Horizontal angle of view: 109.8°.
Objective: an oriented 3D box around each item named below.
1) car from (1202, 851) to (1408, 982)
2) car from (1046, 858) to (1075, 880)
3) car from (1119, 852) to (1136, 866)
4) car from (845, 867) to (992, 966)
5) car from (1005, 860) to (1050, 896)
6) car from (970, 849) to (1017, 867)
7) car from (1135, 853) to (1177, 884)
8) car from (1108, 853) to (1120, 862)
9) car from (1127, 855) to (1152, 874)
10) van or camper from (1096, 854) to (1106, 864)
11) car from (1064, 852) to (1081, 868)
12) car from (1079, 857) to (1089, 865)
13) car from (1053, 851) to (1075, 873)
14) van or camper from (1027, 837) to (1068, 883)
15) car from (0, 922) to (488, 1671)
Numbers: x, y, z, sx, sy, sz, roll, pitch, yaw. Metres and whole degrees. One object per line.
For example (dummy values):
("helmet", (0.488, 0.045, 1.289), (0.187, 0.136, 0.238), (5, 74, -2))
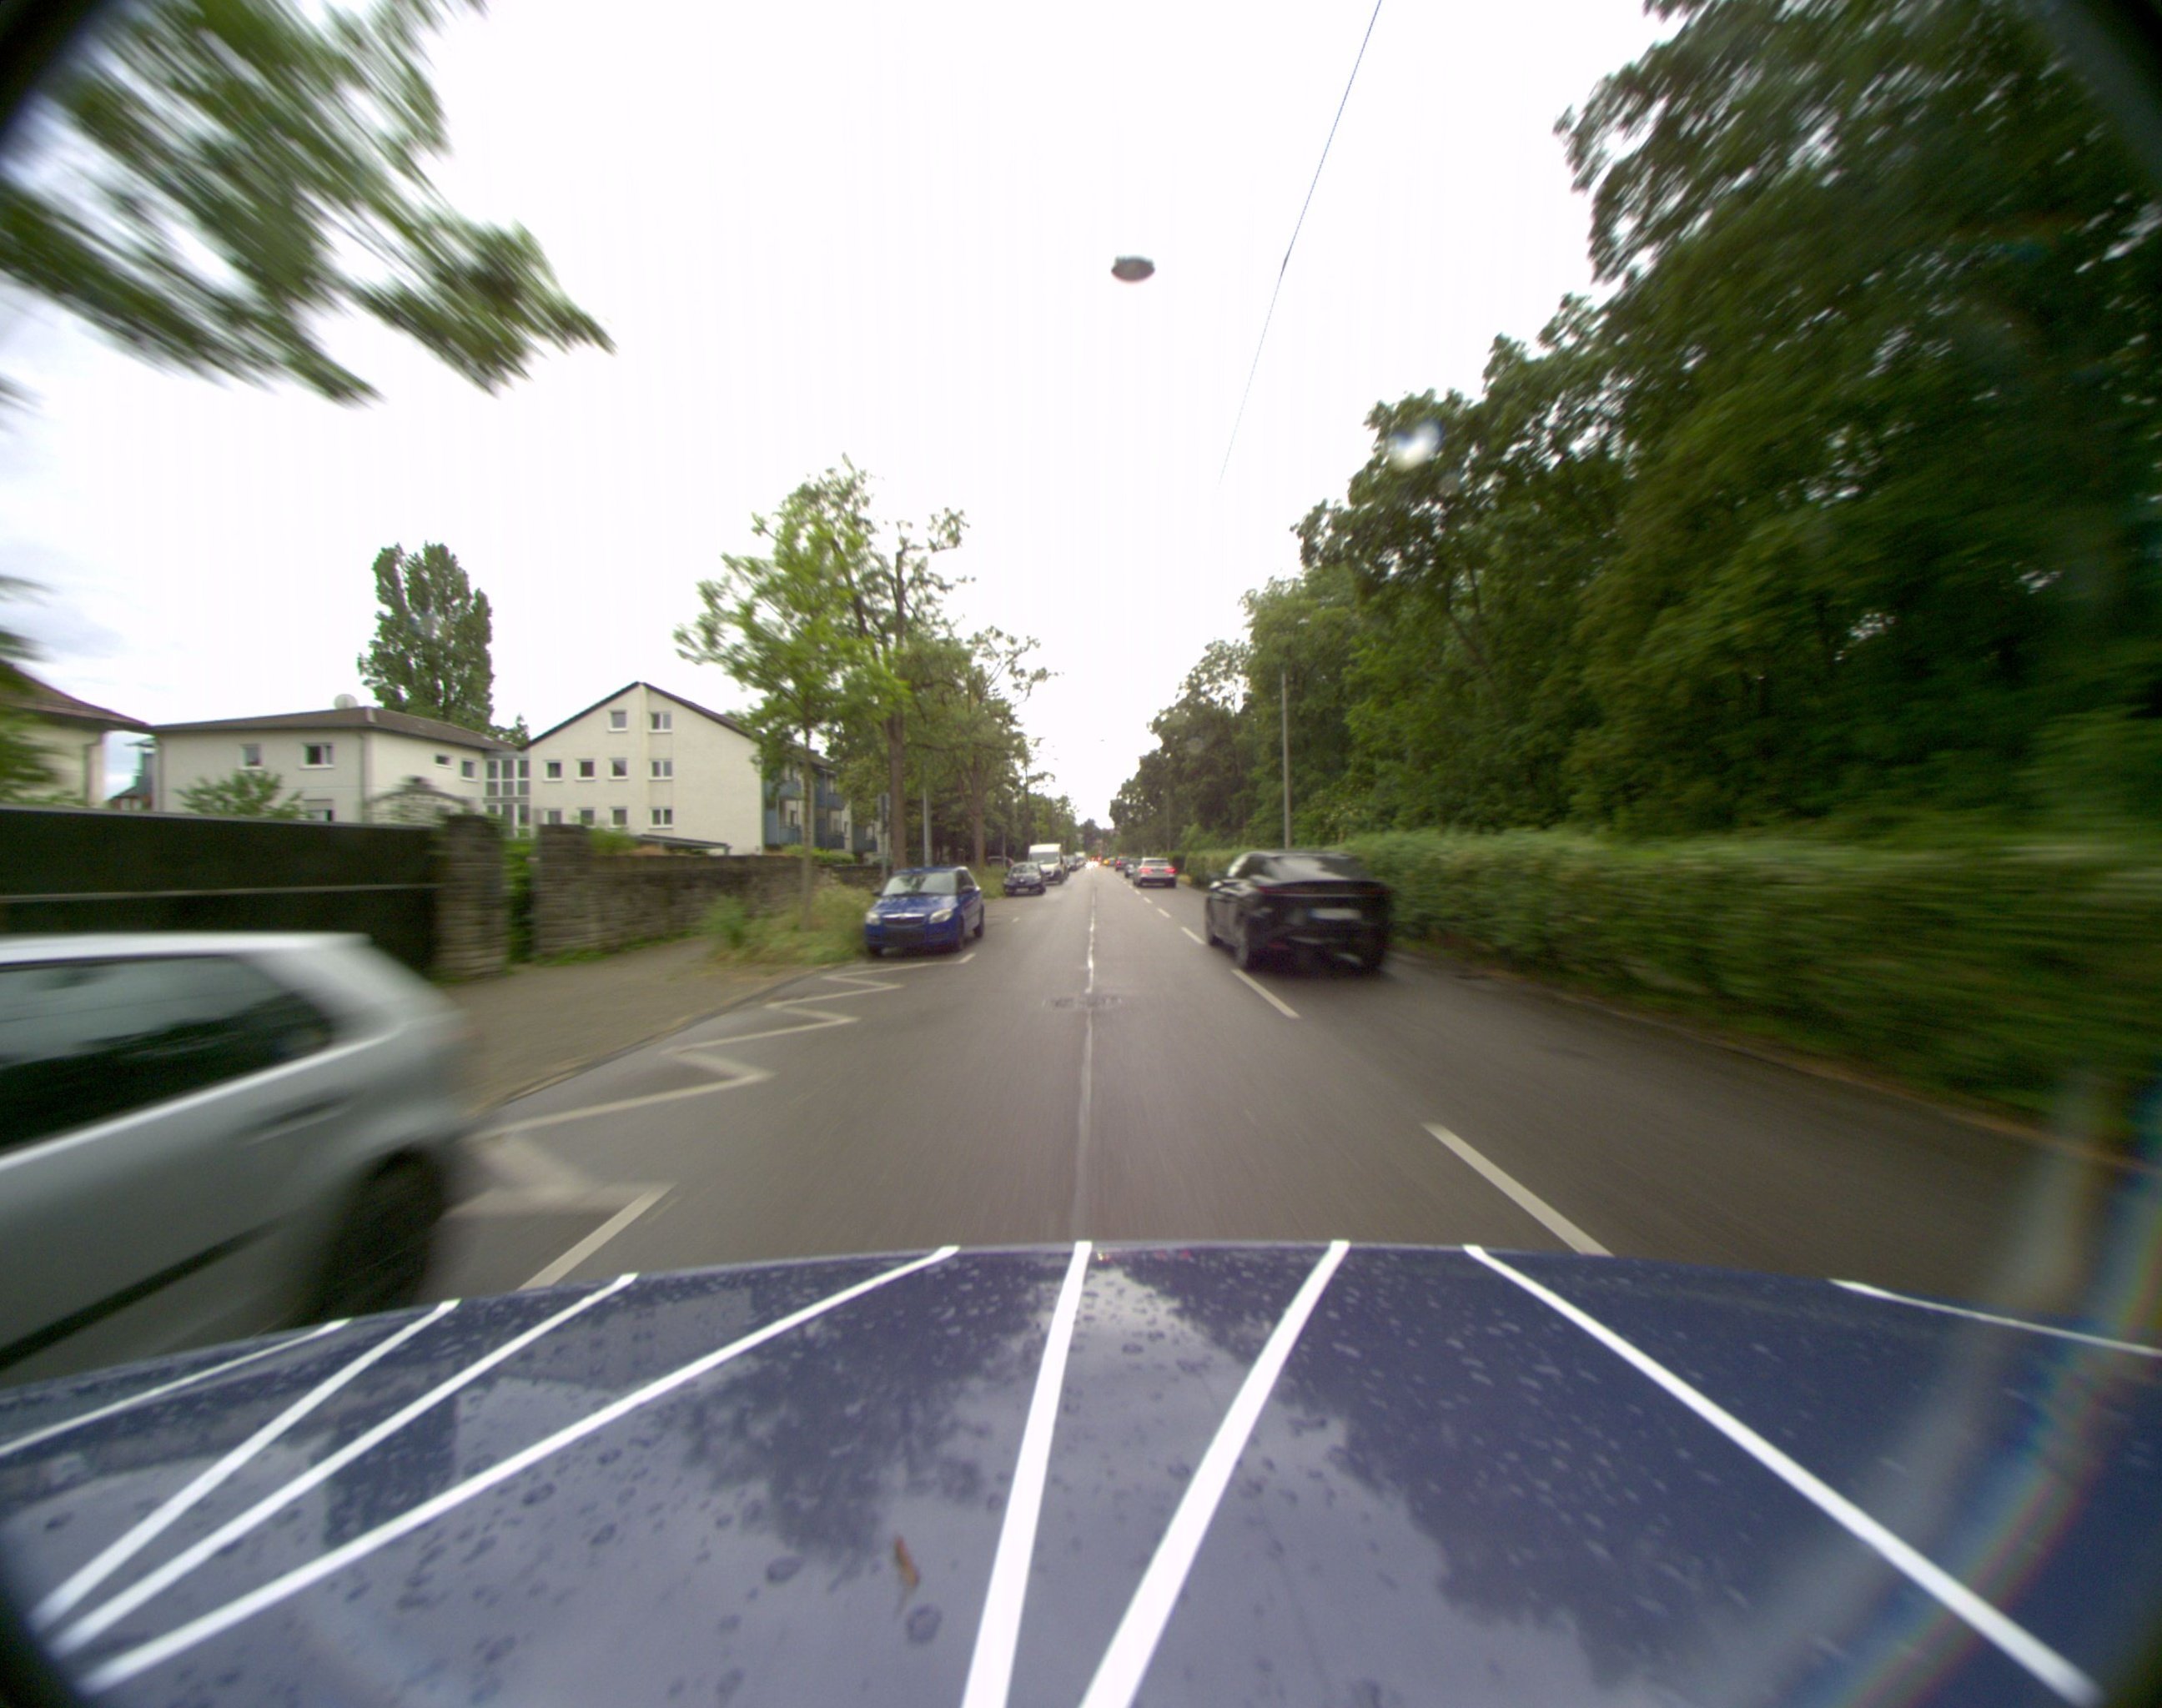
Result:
("car", (2.998, 0.759, 11.200), (1.808, 1.538, 4.432), (0, 0, 1))
("car", (-1.437, 1.061, 55.303), (1.629, 1.455, 3.809), (-3, -1, 4))
("car", (5.024, 0.556, 82.586), (1.734, 1.483, 4.001), (0, 0, 1))
("car", (-2.882, 1.041, 14.353), (1.725, 1.497, 4.051), (-3, -1, 2))
("car", (-2.392, 1.047, 34.606), (1.745, 1.470, 3.963), (-3, -1, -1))
("car", (-8.579, 0.398, 74.534), (4.319, 1.672, 2.000), (1, 1, 2))
("car", (3.763, 0.700, 38.770), (1.860, 1.459, 4.447), (1, 0, 2))
("car", (5.419, 0.544, 124.800), (1.788, 1.471, 3.967), (-1, 1, 1))
("car", (4.259, 0.770, 55.783), (1.690, 1.348, 3.724), (0, 0, 2))
("van or camper", (6.692, 1.708, 252.642), (2.862, 3.159, 6.852), (-3, -1, 3))
("car", (-1.044, 0.717, 91.749), (1.778, 1.712, 4.327), (-3, -1, 2))
("car", (0.508, 1.414, 145.299), (1.786, 1.387, 4.000), (-3, -1, 0))
("car", (-1.517, 0.689, 67.895), (1.819, 1.802, 4.283), (-3, -1, 0))
("van or camper", (-1.990, 0.376, 47.334), (2.083, 2.635, 5.346), (-3, 0, 1))
("car", (-3.161, 1.035, 1.047), (1.622, 1.499, 3.835), (-3, -1, 0))
